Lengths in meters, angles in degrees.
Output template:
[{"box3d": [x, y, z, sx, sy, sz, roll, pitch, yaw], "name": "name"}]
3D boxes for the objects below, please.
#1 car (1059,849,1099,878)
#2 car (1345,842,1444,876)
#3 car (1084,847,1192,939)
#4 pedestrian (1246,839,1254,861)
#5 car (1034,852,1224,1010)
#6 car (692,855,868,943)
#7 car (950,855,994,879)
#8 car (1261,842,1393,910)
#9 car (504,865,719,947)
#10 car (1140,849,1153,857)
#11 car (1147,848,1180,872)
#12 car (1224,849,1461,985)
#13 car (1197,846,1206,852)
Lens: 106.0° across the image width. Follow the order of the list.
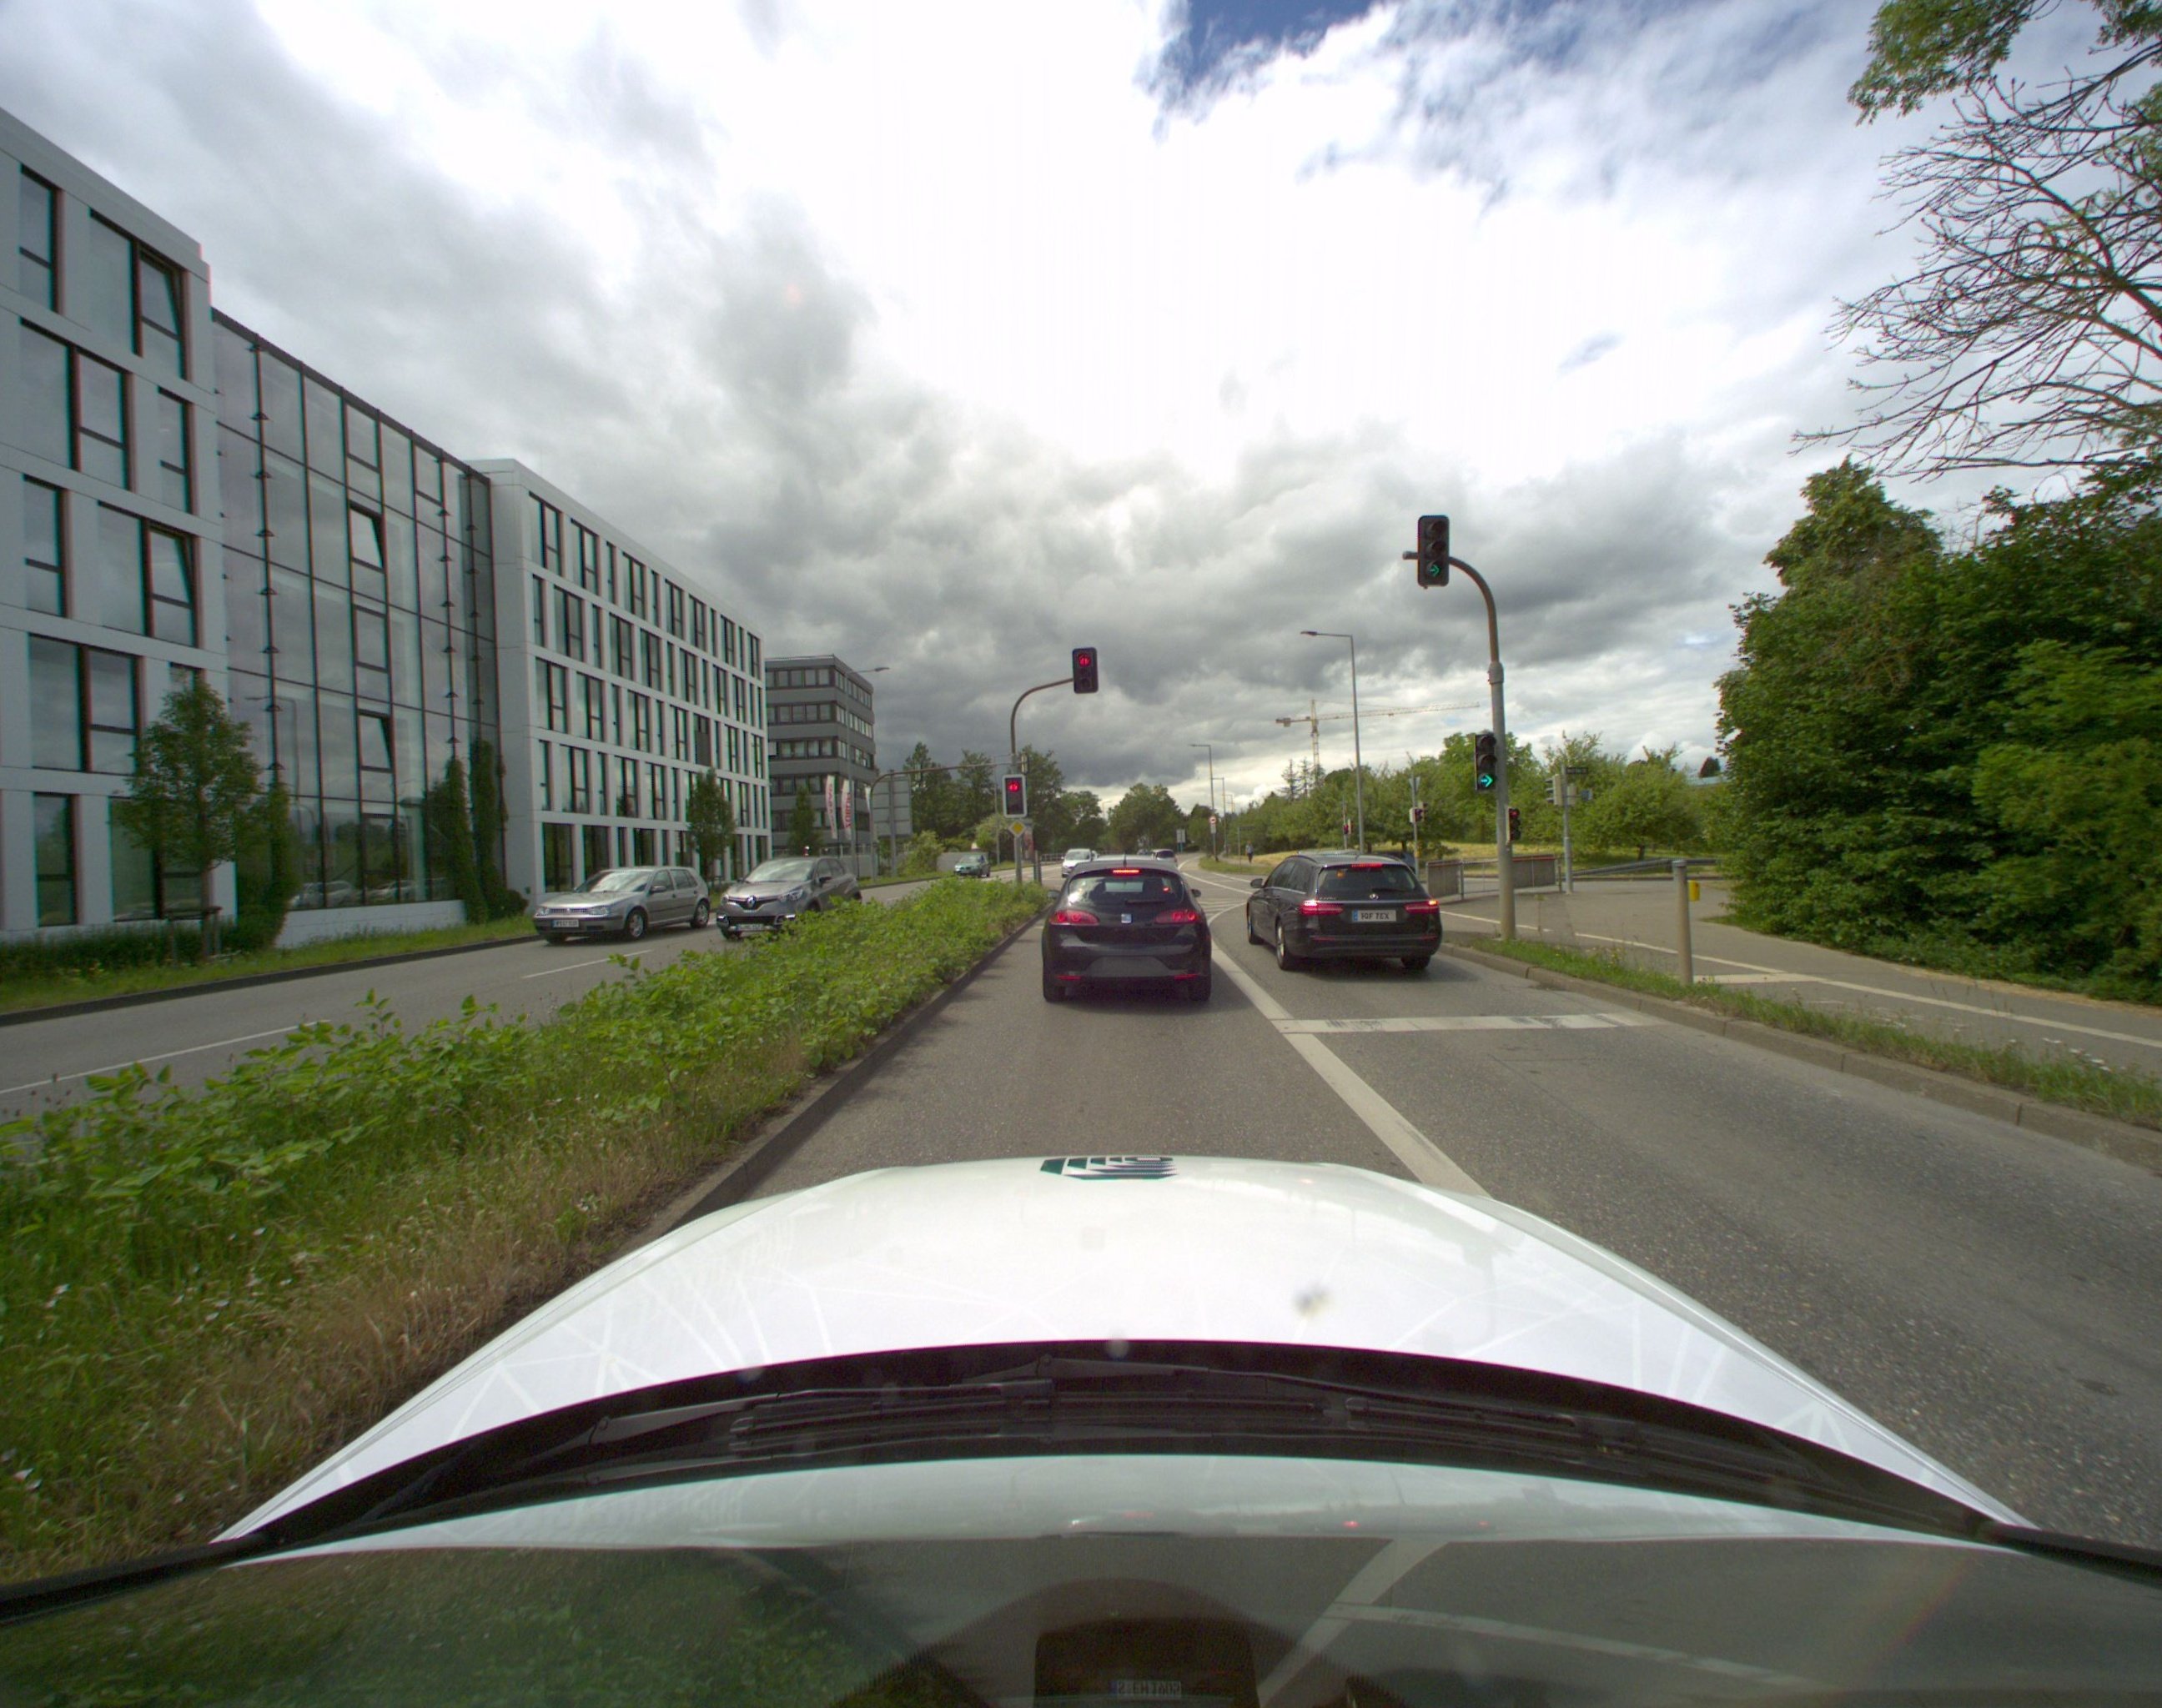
[{"box3d": [-0.100, 0.524, 48.898, 1.984, 1.596, 4.006, -2, 0, 5], "name": "car"}, {"box3d": [15.785, 0.259, 41.200, 4.280, 1.525, 2.004, -2, 0, 7], "name": "car"}, {"box3d": [0.976, 0.654, 15.737, 1.768, 1.491, 3.581, -3, 0, 0], "name": "car"}, {"box3d": [13.469, -0.289, 64.827, 0.556, 1.726, 0.588, -1, 0, 3], "name": "pedestrian"}, {"box3d": [0.515, 0.720, 9.479, 1.766, 1.451, 3.584, -1, 0, 2], "name": "car"}, {"box3d": [-6.023, 0.825, 16.869, 1.927, 1.517, 4.004, -2, 0, 3], "name": "car"}, {"box3d": [-6.689, 0.761, 50.409, 1.986, 1.352, 4.002, -1, 0, 2], "name": "car"}, {"box3d": [6.642, 0.523, 21.650, 1.844, 1.518, 4.475, -3, 0, 37], "name": "car"}, {"box3d": [-9.446, 0.973, 16.830, 1.986, 1.354, 4.002, -2, 0, 2], "name": "car"}, {"box3d": [11.981, -0.166, 148.054, 1.981, 1.352, 4.011, -1, 0, 10], "name": "car"}, {"box3d": [5.561, 0.388, 55.516, 1.985, 1.530, 4.003, -2, 0, 3], "name": "car"}, {"box3d": [3.395, 0.694, 11.758, 1.865, 1.440, 5.202, -3, 0, 2], "name": "car"}, {"box3d": [27.234, -1.099, 184.060, 1.981, 1.352, 4.011, -1, 0, 10], "name": "car"}]
